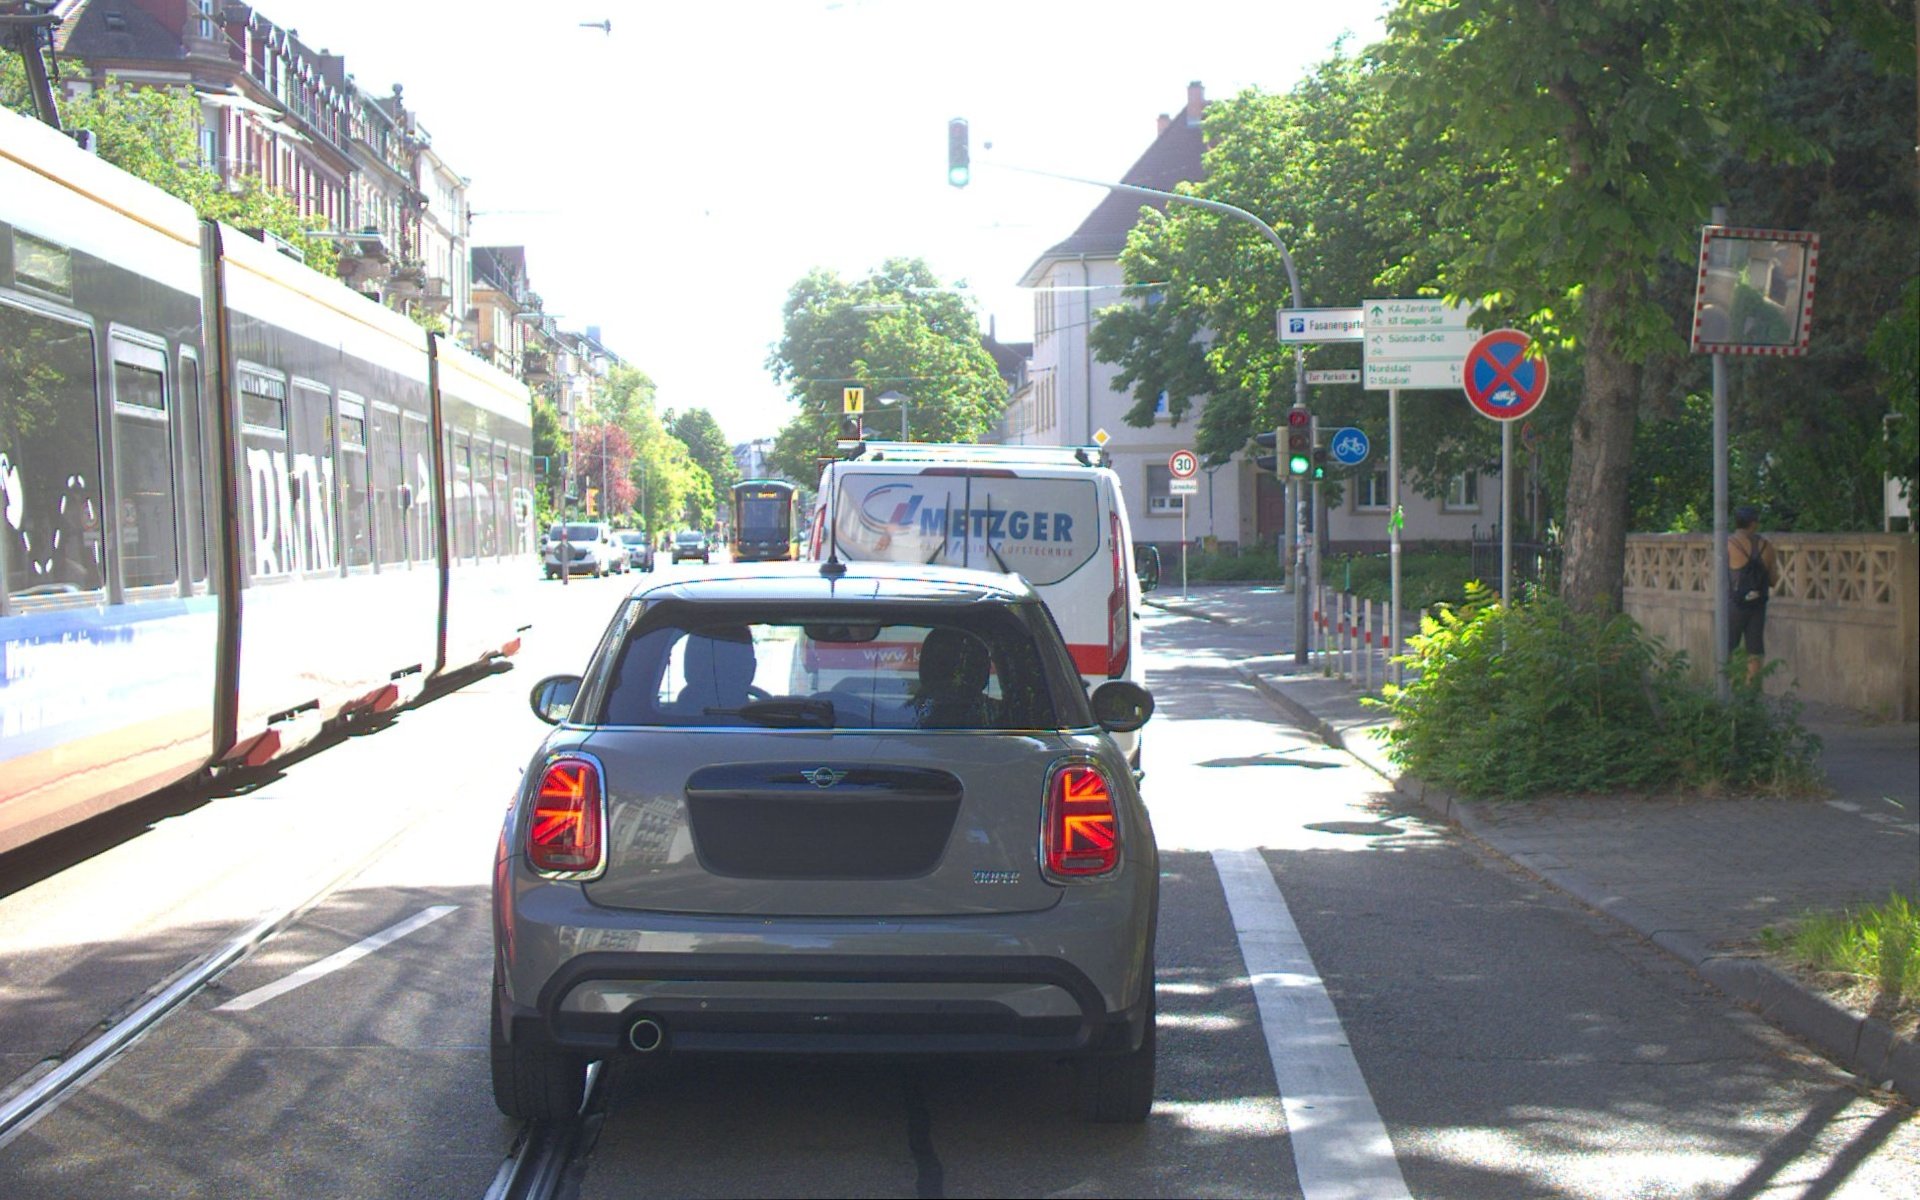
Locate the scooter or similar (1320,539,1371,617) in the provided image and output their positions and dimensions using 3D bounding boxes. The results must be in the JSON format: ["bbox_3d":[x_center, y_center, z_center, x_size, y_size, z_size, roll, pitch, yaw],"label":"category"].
[{"bbox_3d":[6.591,-0.375,58.823,0.676,1.305,1.329,1,0,-1],"label":"scooter or similar"}]

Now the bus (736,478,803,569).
[{"bbox_3d":[-7.600,-2.989,136.504,2.385,3.484,7.385,1,1,-5],"label":"bus"}]

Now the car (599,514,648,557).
[{"bbox_3d":[-13.183,-2.520,134.677,1.775,1.612,4.001,1,1,-4],"label":"car"}]

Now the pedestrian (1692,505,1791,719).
[{"bbox_3d":[6.223,0.090,27.398,0.592,1.665,0.647,-2,0,-1],"label":"pedestrian"}]

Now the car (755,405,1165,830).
[{"bbox_3d":[-0.029,0.065,20.506,2.118,2.200,4.945,1,1,-1],"label":"car"}]

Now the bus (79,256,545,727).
[{"bbox_3d":[-5.963,-0.937,33.848,2.849,3.764,12.199,1,1,-3],"label":"bus"}]

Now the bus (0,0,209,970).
[{"bbox_3d":[-4.824,-0.539,10.977,2.859,3.764,11.499,1,1,-3],"label":"bus"}]

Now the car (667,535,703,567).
[{"bbox_3d":[-14.092,-2.492,176.476,1.775,1.612,4.001,1,1,-4],"label":"car"}]

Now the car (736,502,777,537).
[{"bbox_3d":[-9.602,-3.767,161.816,1.863,1.558,4.001,1,1,-4],"label":"car"}]

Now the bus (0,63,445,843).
[{"bbox_3d":[-5.333,-0.782,22.212,2.859,3.764,11.185,1,1,-3],"label":"bus"}]

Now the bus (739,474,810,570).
[{"bbox_3d":[-6.994,-2.888,129.108,2.385,3.484,7.385,1,1,-5],"label":"bus"}]

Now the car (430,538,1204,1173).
[{"bbox_3d":[-0.361,0.587,10.156,1.815,1.483,4.000,1,1,-1],"label":"car"}]

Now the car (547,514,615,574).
[{"bbox_3d":[-13.134,-1.937,119.354,1.993,2.007,5.030,1,1,-3],"label":"car"}]
